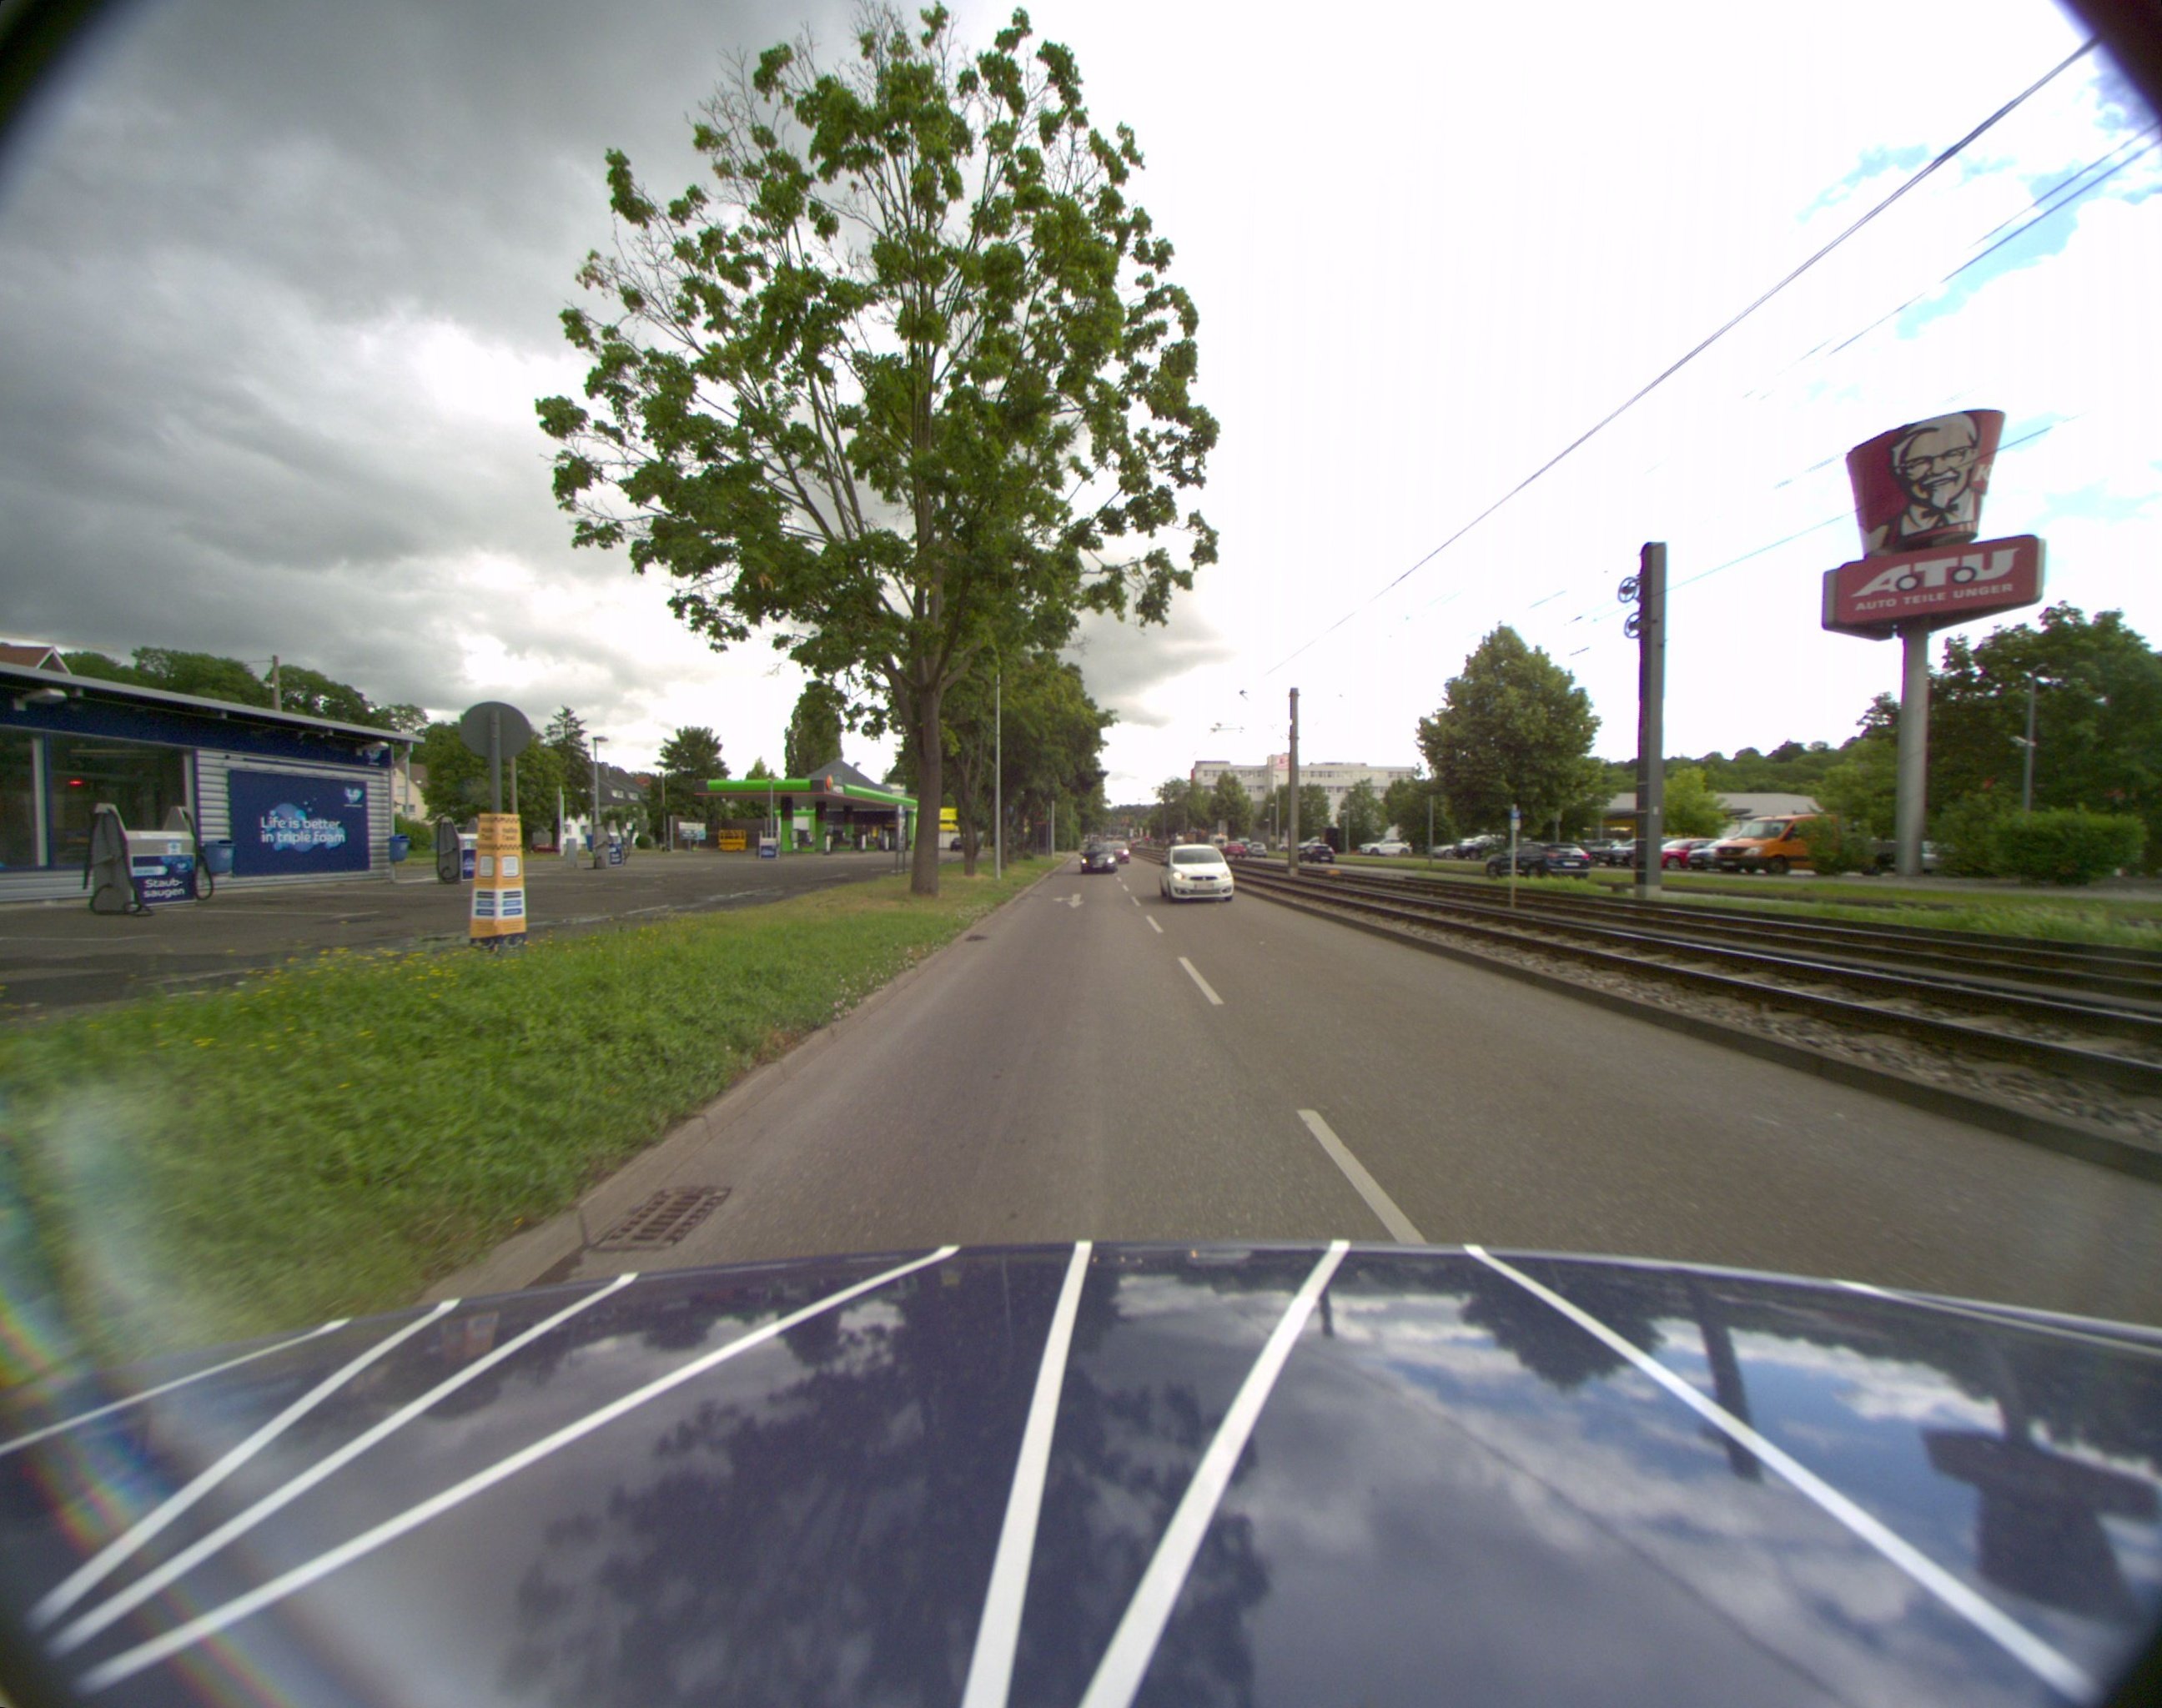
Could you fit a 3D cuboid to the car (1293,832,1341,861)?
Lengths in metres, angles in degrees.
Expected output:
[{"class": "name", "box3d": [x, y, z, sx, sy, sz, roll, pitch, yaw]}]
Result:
[{"class": "car", "box3d": [17.459, -0.549, 56.377, 1.999, 2.002, 3.998, 2, 1, -3]}]

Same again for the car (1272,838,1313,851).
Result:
[{"class": "car", "box3d": [26.940, -1.215, 96.922, 4.611, 1.484, 2.000, -2, 1, 4]}]

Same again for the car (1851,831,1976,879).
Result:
[{"class": "car", "box3d": [38.860, 0.037, 35.525, 3.738, 2.002, 1.951, -2, 1, -2]}]

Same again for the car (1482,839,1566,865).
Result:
[{"class": "car", "box3d": [27.111, -0.121, 46.570, 3.997, 1.413, 1.937, -2, 1, 0]}]

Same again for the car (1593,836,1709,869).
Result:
[{"class": "car", "box3d": [27.386, -0.087, 36.590, 3.997, 1.359, 2.093, -2, 1, 0]}]

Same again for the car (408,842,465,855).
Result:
[{"class": "car", "box3d": [-64.024, -0.551, 75.531, 3.998, 1.212, 1.842, 0, 1, -4]}]

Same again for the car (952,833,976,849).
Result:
[{"class": "car", "box3d": [-13.332, -1.478, 86.825, 1.998, 1.629, 4.326, 3, 1, 1]}]

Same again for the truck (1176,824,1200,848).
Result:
[{"class": "truck", "box3d": [18.509, -3.060, 131.982, 2.899, 3.944, 8.629, 1, 1, 0]}]

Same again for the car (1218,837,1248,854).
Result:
[{"class": "car", "box3d": [14.285, -0.820, 71.569, 1.788, 1.573, 4.480, 1, 1, -2]}]

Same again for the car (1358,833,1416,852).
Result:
[{"class": "car", "box3d": [27.624, -1.023, 68.650, 4.482, 1.498, 1.795, -2, 1, -2]}]

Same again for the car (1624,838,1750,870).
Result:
[{"class": "car", "box3d": [27.016, -0.024, 33.971, 3.997, 1.229, 2.000, -2, 1, 0]}]

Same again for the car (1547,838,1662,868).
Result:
[{"class": "car", "box3d": [26.989, -0.062, 39.296, 4.384, 1.346, 2.195, -2, 1, 0]}]

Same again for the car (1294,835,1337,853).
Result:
[{"class": "car", "box3d": [26.950, -1.154, 87.415, 4.355, 1.908, 2.000, -2, 1, 4]}]

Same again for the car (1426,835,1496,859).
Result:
[{"class": "car", "box3d": [26.906, -0.495, 53.898, 3.997, 1.498, 2.002, -2, 1, 0]}]

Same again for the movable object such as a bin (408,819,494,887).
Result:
[{"class": "movable object such as a bin", "box3d": [-17.424, -0.037, 21.073, 1.161, 1.808, 1.455, 0, 1, -3]}]

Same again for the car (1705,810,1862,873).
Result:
[{"class": "car", "box3d": [26.477, -0.481, 28.752, 3.997, 2.153, 2.058, -2, 1, 0]}]

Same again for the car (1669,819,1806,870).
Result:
[{"class": "car", "box3d": [27.318, -0.408, 31.723, 3.997, 1.907, 2.000, -2, 1, 0]}]

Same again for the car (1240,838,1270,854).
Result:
[{"class": "car", "box3d": [17.311, -0.843, 75.647, 1.999, 1.474, 3.999, 2, 1, 0]}]

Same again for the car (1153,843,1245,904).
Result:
[{"class": "car", "box3d": [3.140, 0.461, 20.983, 1.786, 1.436, 3.999, -2, 1, -1]}]

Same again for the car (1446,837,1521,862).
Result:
[{"class": "car", "box3d": [27.185, -0.298, 51.413, 3.997, 1.498, 1.937, -2, 1, 0]}]

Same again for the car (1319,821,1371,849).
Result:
[{"class": "car", "box3d": [27.038, -1.965, 77.898, 4.481, 2.733, 2.288, 1, 2, 0]}]

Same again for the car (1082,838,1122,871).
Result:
[{"class": "car", "box3d": [1.059, -0.003, 40.091, 1.786, 1.614, 3.998, -2, 1, -2]}]

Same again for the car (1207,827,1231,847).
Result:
[{"class": "car", "box3d": [17.801, -2.146, 98.310, 1.874, 2.485, 5.998, 1, 1, 0]}]

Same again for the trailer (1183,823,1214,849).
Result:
[{"class": "trailer", "box3d": [18.476, -2.801, 120.465, 2.678, 3.875, 14.423, 2, 1, 1]}]

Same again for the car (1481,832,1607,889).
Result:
[{"class": "car", "box3d": [17.525, 0.198, 29.030, 1.999, 2.002, 4.245, 0, 1, -3]}]
